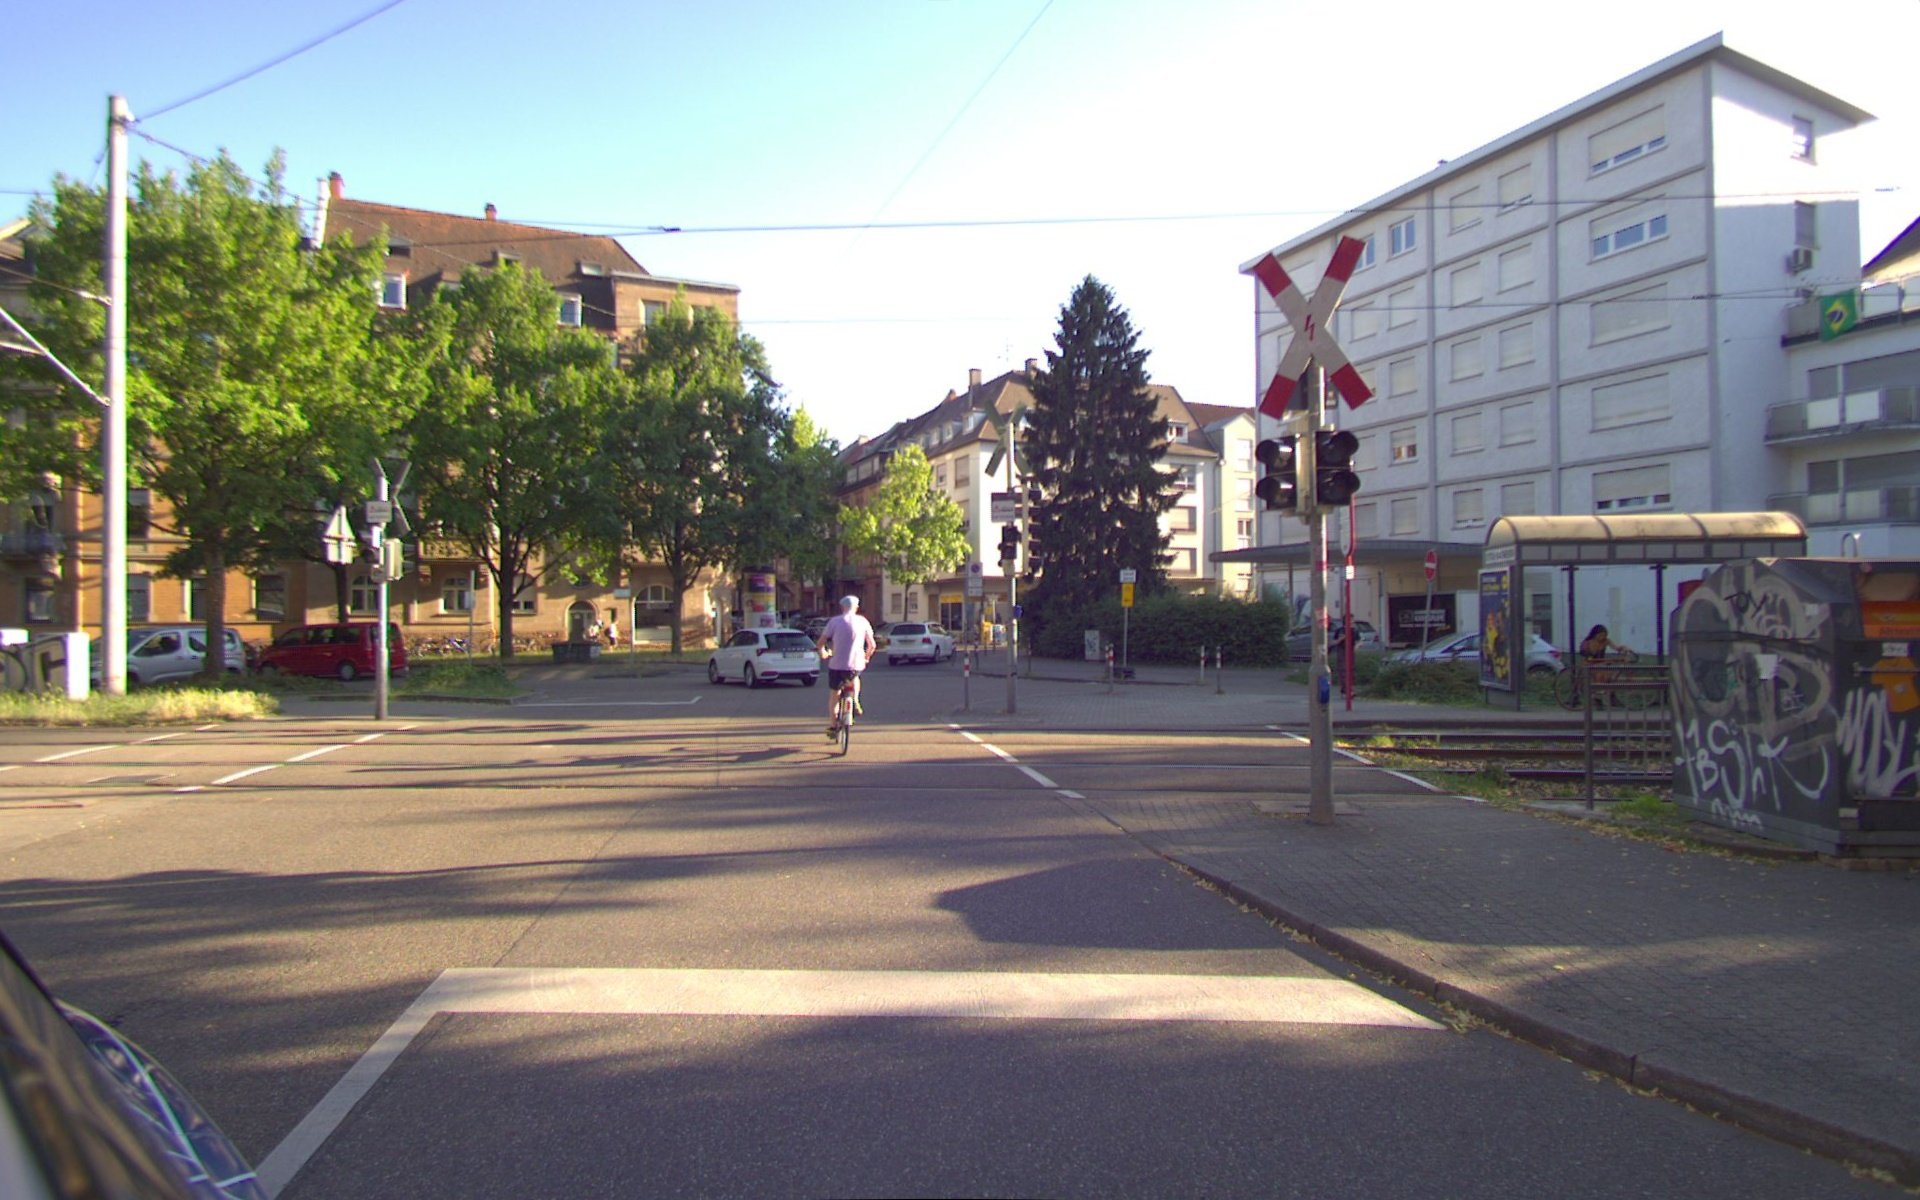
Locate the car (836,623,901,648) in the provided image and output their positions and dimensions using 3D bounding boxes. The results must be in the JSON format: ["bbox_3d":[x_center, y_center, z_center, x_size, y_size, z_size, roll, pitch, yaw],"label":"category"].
[{"bbox_3d":[-6.143,2.355,67.855,3.936,1.580,1.877,0,-2,-38],"label":"car"}]

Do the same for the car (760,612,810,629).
[{"bbox_3d":[-14.927,1.776,86.406,1.870,1.410,3.950,-2,-2,37],"label":"car"}]

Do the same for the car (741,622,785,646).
[{"bbox_3d":[-12.021,2.059,61.591,1.841,1.410,4.013,0,-1,-22],"label":"car"}]

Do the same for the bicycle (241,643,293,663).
[{"bbox_3d":[-31.351,2.391,45.800,1.866,0.854,0.527,-1,-2,-25],"label":"bicycle"}]

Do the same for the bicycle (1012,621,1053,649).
[{"bbox_3d":[3.952,1.888,55.673,0.866,1.456,3.391,0,0,-21],"label":"bicycle"}]

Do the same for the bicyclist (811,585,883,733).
[{"bbox_3d":[-1.266,0.651,11.460,0.691,1.600,0.874,-1,-1,1],"label":"bicyclist"}]

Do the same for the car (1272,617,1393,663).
[{"bbox_3d":[13.407,1.431,36.668,1.965,1.544,4.013,0,-1,-20],"label":"car"}]

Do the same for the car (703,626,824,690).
[{"bbox_3d":[-5.064,1.414,25.695,1.679,1.468,4.074,0,-2,-32],"label":"car"}]

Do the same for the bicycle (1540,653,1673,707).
[{"bbox_3d":[9.777,1.213,15.332,1.624,0.789,0.449,-1,-1,9],"label":"bicycle"}]

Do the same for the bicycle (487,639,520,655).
[{"bbox_3d":[-22.504,2.323,49.899,1.484,0.738,0.370,0,-1,-26],"label":"bicycle"}]

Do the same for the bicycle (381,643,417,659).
[{"bbox_3d":[-26.486,2.410,47.792,1.484,0.738,0.370,0,-1,-26],"label":"bicycle"}]

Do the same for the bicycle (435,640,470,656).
[{"bbox_3d":[-24.441,2.324,48.752,1.484,0.738,0.370,0,-1,-26],"label":"bicycle"}]

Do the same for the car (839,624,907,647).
[{"bbox_3d":[-5.525,2.264,64.584,3.937,1.410,1.876,0,-2,-41],"label":"car"}]

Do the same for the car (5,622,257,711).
[{"bbox_3d":[-19.998,1.516,24.721,1.930,1.929,4.535,0,-1,12],"label":"car"}]

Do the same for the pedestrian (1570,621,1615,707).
[{"bbox_3d":[9.830,0.985,15.736,0.447,1.311,0.337,-1,-1,8],"label":"pedestrian"}]

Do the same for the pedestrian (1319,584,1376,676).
[{"bbox_3d":[7.549,0.572,19.755,0.861,1.749,0.828,-1,0,9],"label":"pedestrian"}]

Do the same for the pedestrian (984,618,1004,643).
[{"bbox_3d":[2.154,1.921,63.627,0.947,1.581,0.894,0,-2,-23],"label":"pedestrian"}]

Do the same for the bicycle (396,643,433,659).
[{"bbox_3d":[-25.717,2.397,47.724,1.484,0.738,0.370,0,-1,-26],"label":"bicycle"}]

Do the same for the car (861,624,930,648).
[{"bbox_3d":[-3.973,2.202,62.648,3.937,1.410,1.876,0,-2,-41],"label":"car"}]

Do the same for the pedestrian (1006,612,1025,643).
[{"bbox_3d":[3.469,1.721,63.569,0.875,1.889,0.855,0,-2,-24],"label":"pedestrian"}]

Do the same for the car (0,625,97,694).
[{"bbox_3d":[-24.867,1.503,25.697,1.925,1.704,4.443,0,-1,4],"label":"car"}]

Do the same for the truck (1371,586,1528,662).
[{"bbox_3d":[17.592,0.857,36.685,1.965,2.554,4.988,0,-1,-24],"label":"truck"}]

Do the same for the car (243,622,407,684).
[{"bbox_3d":[-21.657,1.789,34.596,4.717,1.948,1.777,-1,1,9],"label":"car"}]

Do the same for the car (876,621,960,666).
[{"bbox_3d":[-1.418,1.503,35.978,1.904,1.461,4.278,-2,-2,13],"label":"car"}]

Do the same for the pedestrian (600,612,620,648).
[{"bbox_3d":[-16.944,1.445,49.013,0.896,1.731,0.678,0,-1,-21],"label":"pedestrian"}]

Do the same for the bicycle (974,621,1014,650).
[{"bbox_3d":[1.797,1.877,54.631,0.866,1.456,3.391,0,0,-21],"label":"bicycle"}]

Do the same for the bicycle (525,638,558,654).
[{"bbox_3d":[-20.882,2.294,50.532,1.484,0.738,0.370,-2,-1,-26],"label":"bicycle"}]

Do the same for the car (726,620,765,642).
[{"bbox_3d":[-14.138,2.034,66.601,1.841,1.410,4.013,0,-1,-22],"label":"car"}]

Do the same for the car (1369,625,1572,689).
[{"bbox_3d":[12.230,1.366,24.457,3.951,1.457,1.713,-1,-2,6],"label":"car"}]

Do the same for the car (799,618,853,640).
[{"bbox_3d":[-10.065,2.164,76.247,1.870,1.648,3.950,-2,-2,37],"label":"car"}]

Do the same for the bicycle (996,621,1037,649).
[{"bbox_3d":[3.046,1.886,55.062,0.866,1.456,3.391,0,0,-21],"label":"bicycle"}]

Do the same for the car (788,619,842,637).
[{"bbox_3d":[-11.254,2.169,78.655,1.870,1.410,3.950,-2,-2,37],"label":"car"}]

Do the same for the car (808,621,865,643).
[{"bbox_3d":[-8.932,2.291,73.237,1.870,1.517,3.950,-2,-2,37],"label":"car"}]

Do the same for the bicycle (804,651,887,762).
[{"bbox_3d":[-1.252,1.142,11.451,0.691,1.062,2.123,-1,-1,0],"label":"bicycle"}]

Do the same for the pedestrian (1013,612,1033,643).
[{"bbox_3d":[3.914,1.727,62.841,0.875,1.889,0.855,0,-2,-24],"label":"pedestrian"}]
